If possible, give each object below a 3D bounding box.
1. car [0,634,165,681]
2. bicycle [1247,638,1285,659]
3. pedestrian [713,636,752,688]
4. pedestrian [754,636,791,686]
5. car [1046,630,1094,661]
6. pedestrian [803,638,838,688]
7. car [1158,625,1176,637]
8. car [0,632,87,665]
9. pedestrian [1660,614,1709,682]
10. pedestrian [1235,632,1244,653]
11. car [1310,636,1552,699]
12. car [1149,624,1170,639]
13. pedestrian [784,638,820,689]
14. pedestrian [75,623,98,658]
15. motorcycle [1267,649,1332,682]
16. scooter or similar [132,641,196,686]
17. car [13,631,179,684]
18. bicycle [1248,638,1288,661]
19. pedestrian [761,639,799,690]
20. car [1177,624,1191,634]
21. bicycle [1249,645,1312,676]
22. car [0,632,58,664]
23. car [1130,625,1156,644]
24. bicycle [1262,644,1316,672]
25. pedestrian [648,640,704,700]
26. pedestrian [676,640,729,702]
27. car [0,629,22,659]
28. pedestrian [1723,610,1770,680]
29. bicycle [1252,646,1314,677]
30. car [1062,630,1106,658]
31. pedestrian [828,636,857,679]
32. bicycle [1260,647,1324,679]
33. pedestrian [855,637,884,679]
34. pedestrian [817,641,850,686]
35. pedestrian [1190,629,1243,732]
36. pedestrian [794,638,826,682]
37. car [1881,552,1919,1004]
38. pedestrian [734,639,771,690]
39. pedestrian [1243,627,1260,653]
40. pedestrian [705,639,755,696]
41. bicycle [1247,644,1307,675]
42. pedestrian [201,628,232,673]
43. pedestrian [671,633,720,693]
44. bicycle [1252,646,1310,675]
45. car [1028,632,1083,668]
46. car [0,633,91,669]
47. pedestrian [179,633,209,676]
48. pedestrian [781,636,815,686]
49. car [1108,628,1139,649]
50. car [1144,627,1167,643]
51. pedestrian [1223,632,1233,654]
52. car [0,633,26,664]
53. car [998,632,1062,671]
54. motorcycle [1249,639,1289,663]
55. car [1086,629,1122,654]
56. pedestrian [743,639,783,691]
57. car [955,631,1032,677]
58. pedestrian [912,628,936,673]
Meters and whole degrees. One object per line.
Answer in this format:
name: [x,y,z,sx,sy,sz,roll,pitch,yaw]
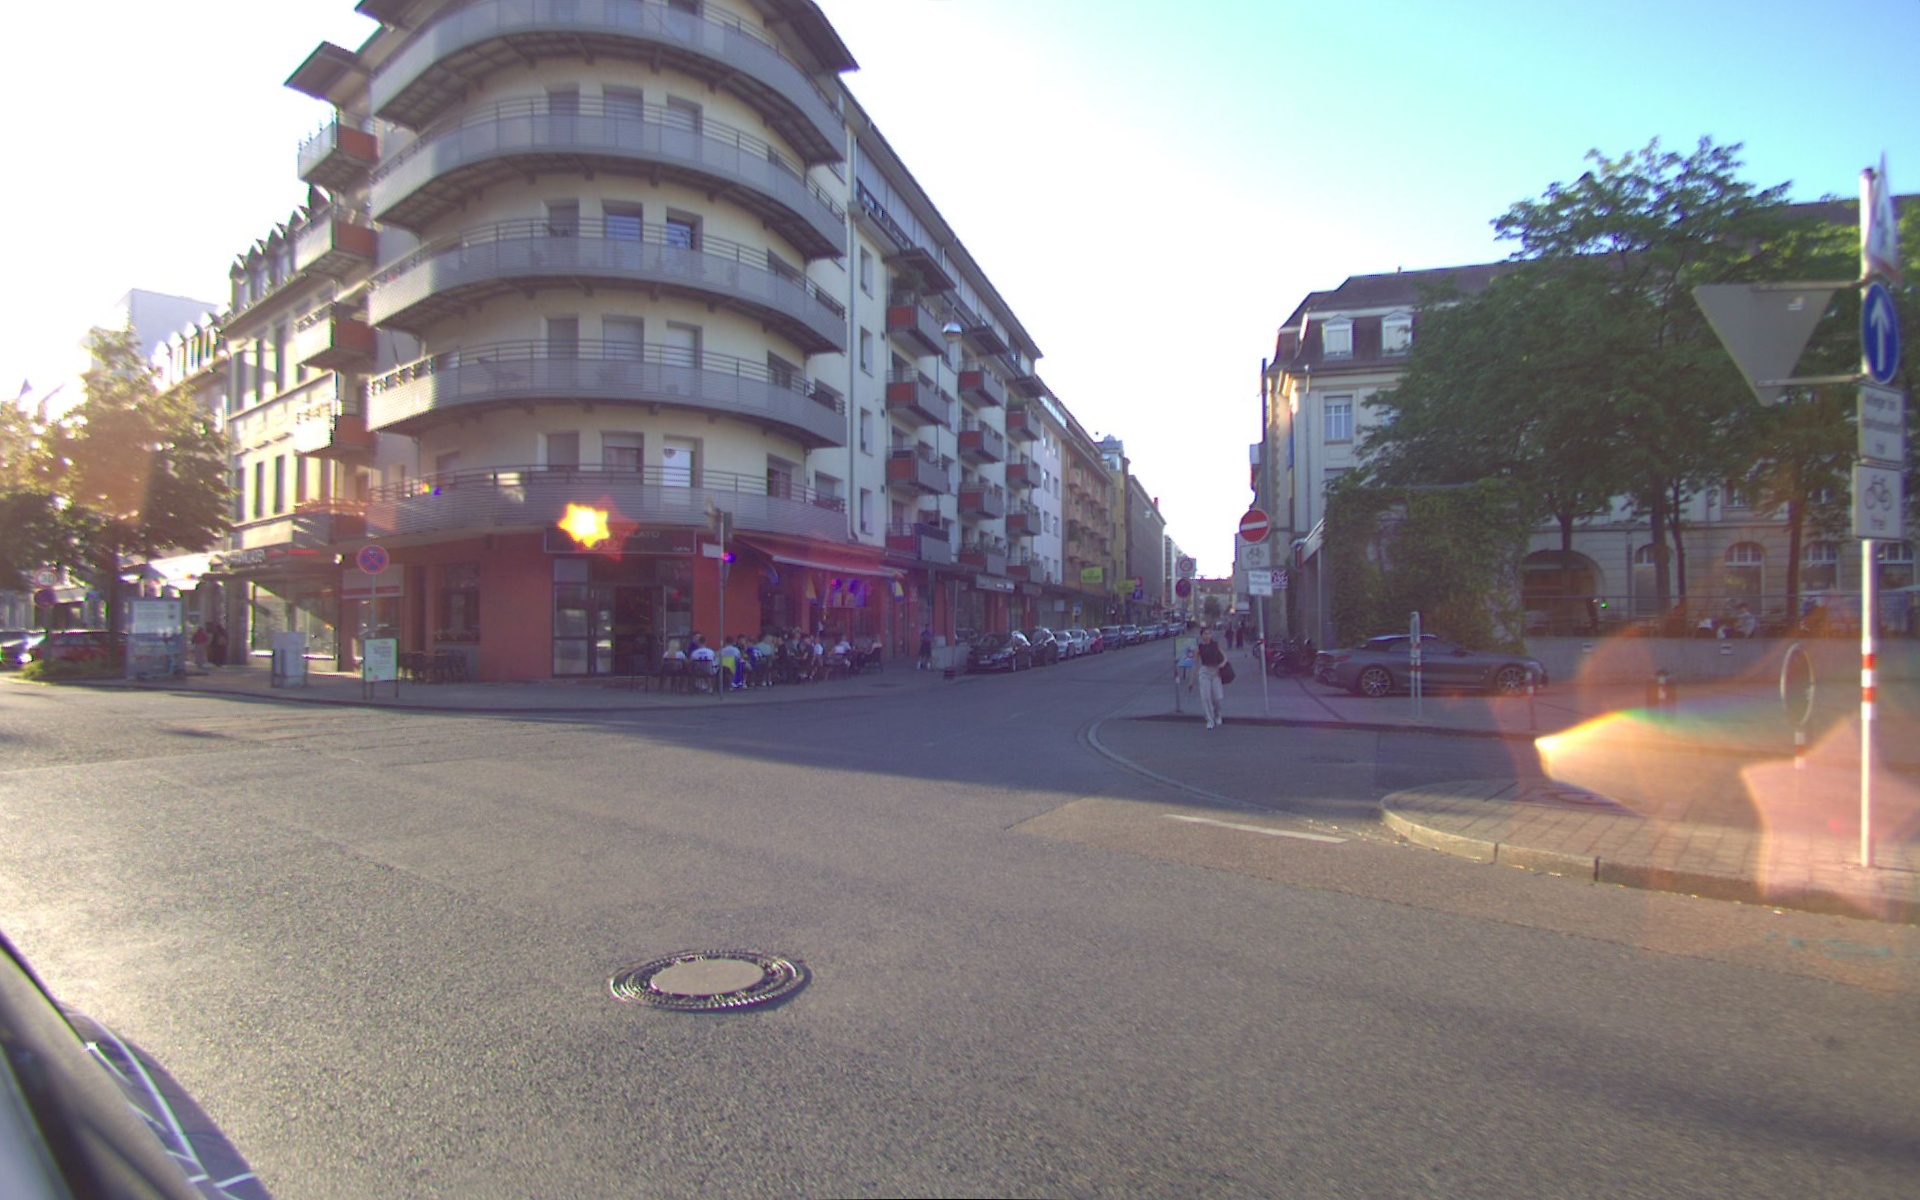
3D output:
car: [-31.138,1.972,35.742,1.819,1.418,4.526,-2,-1,38]
bicycle: [15.609,2.491,51.652,1.793,1.016,0.507,-2,-2,24]
pedestrian: [-5.702,1.553,25.390,0.699,1.256,0.615,0,-2,30]
pedestrian: [-5.003,1.608,27.069,0.699,1.297,0.650,0,-2,30]
car: [6.084,2.478,55.475,1.953,1.608,3.978,-1,-2,16]
pedestrian: [-3.771,1.695,27.341,0.699,1.297,0.615,0,-2,30]
car: [26.880,4.027,131.343,1.953,1.608,3.978,-1,-2,16]
car: [-42.448,2.214,45.951,1.842,1.414,4.054,-2,-2,41]
pedestrian: [17.354,1.139,24.251,0.763,1.598,0.686,1,-1,17]
pedestrian: [18.184,2.767,65.837,0.513,1.407,0.397,-1,-2,13]
car: [10.401,1.489,22.694,4.477,1.328,1.994,-1,-3,9]
car: [22.337,3.543,113.155,1.953,1.608,3.978,-1,-2,16]
pedestrian: [-4.132,1.654,26.470,0.699,1.297,0.615,0,-2,30]
pedestrian: [-44.948,2.068,52.091,0.875,1.734,0.764,0,0,40]
motorcycle: [9.910,1.902,29.585,1.774,0.887,0.512,-1,-2,-14]
scooter or similar: [-23.084,1.820,29.375,0.525,1.235,1.385,-2,-1,36]
car: [-29.060,1.880,34.129,1.882,1.548,4.032,-2,-1,40]
bicycle: [15.047,2.436,49.415,1.792,1.087,0.507,-2,-2,23]
pedestrian: [-4.556,1.614,25.633,0.699,1.256,0.615,0,-2,30]
car: [37.417,4.832,168.850,1.953,1.608,3.978,-1,-2,16]
bicycle: [9.927,1.873,31.374,1.782,0.930,0.510,-2,-2,7]
car: [-44.974,2.267,47.482,1.803,1.455,3.703,-2,-1,37]
car: [17.143,3.208,94.551,1.953,1.608,3.978,-1,-1,16]
bicycle: [11.538,2.037,35.562,0.502,0.930,1.808,0,-2,-37]
pedestrian: [-6.218,1.510,22.199,0.765,1.251,0.891,0,-2,31]
pedestrian: [-5.575,1.513,21.923,0.746,1.283,0.820,0,-2,31]
car: [-53.958,2.455,54.870,1.888,1.608,4.363,-3,-1,38]
pedestrian: [18.577,1.053,23.917,0.695,1.598,0.618,1,-1,17]
bicycle: [10.199,1.947,32.028,1.784,0.930,0.509,-2,-2,9]
car: [7.364,2.565,59.813,1.953,1.608,3.978,-1,-2,16]
pedestrian: [-3.668,1.786,31.713,0.696,1.297,0.618,1,-1,19]
bicycle: [9.987,1.891,30.467,1.775,0.887,0.512,-1,-2,-11]
pedestrian: [-2.852,1.810,31.773,0.696,1.297,0.618,1,-1,19]
pedestrian: [-3.577,1.782,28.640,0.698,1.234,0.616,0,-2,27]
pedestrian: [4.096,1.269,16.158,0.760,1.579,0.896,-1,-2,15]
pedestrian: [-4.398,1.755,29.742,0.698,1.234,0.616,0,-2,27]
car: [4.764,0.630,1.863,1.972,1.774,4.465,0,-2,0]
pedestrian: [-5.331,1.650,26.007,0.699,1.256,0.615,0,-2,30]
pedestrian: [18.636,2.568,64.703,0.837,1.610,0.729,-2,-2,28]
pedestrian: [-5.230,1.518,23.060,0.827,1.256,0.715,0,-2,34]
bicycle: [10.264,1.925,32.803,1.784,0.930,0.509,-2,-2,9]
pedestrian: [-27.879,1.872,37.939,0.875,1.620,0.764,0,0,40]
pedestrian: [-6.195,1.467,23.733,0.827,1.358,0.740,0,-2,34]
bicycle: [10.653,2.006,33.595,1.790,0.930,0.507,-2,-2,19]
car: [4.699,2.395,49.176,1.953,1.608,3.978,-1,-2,16]
car: [-40.691,2.211,44.050,1.881,1.414,4.068,-2,-1,37]
pedestrian: [-28.283,1.997,37.362,0.875,1.539,0.727,0,0,40]
pedestrian: [-4.497,1.675,28.100,0.699,1.343,0.615,0,-2,30]
car: [13.096,3.054,80.723,1.953,1.608,3.978,-1,-2,16]
car: [20.791,3.710,107.581,1.953,1.608,3.978,-1,-2,16]
pedestrian: [17.464,2.792,65.948,0.536,1.407,0.383,-1,-2,13]
car: [-48.321,2.406,49.633,1.714,1.513,3.522,-2,-1,38]
car: [3.074,2.195,43.801,1.953,1.608,3.978,-1,-2,16]
motorcycle: [14.887,2.447,48.711,1.790,1.087,0.507,-2,-2,19]
car: [10.022,2.858,70.155,1.953,1.608,3.978,-1,-2,16]
pedestrian: [-4.853,1.588,24.956,0.699,1.256,0.615,0,-2,30]
car: [1.299,1.989,37.868,1.953,1.608,3.978,-1,-2,16]
pedestrian: [-1.227,1.710,34.462,0.616,1.480,0.698,1,-1,14]
